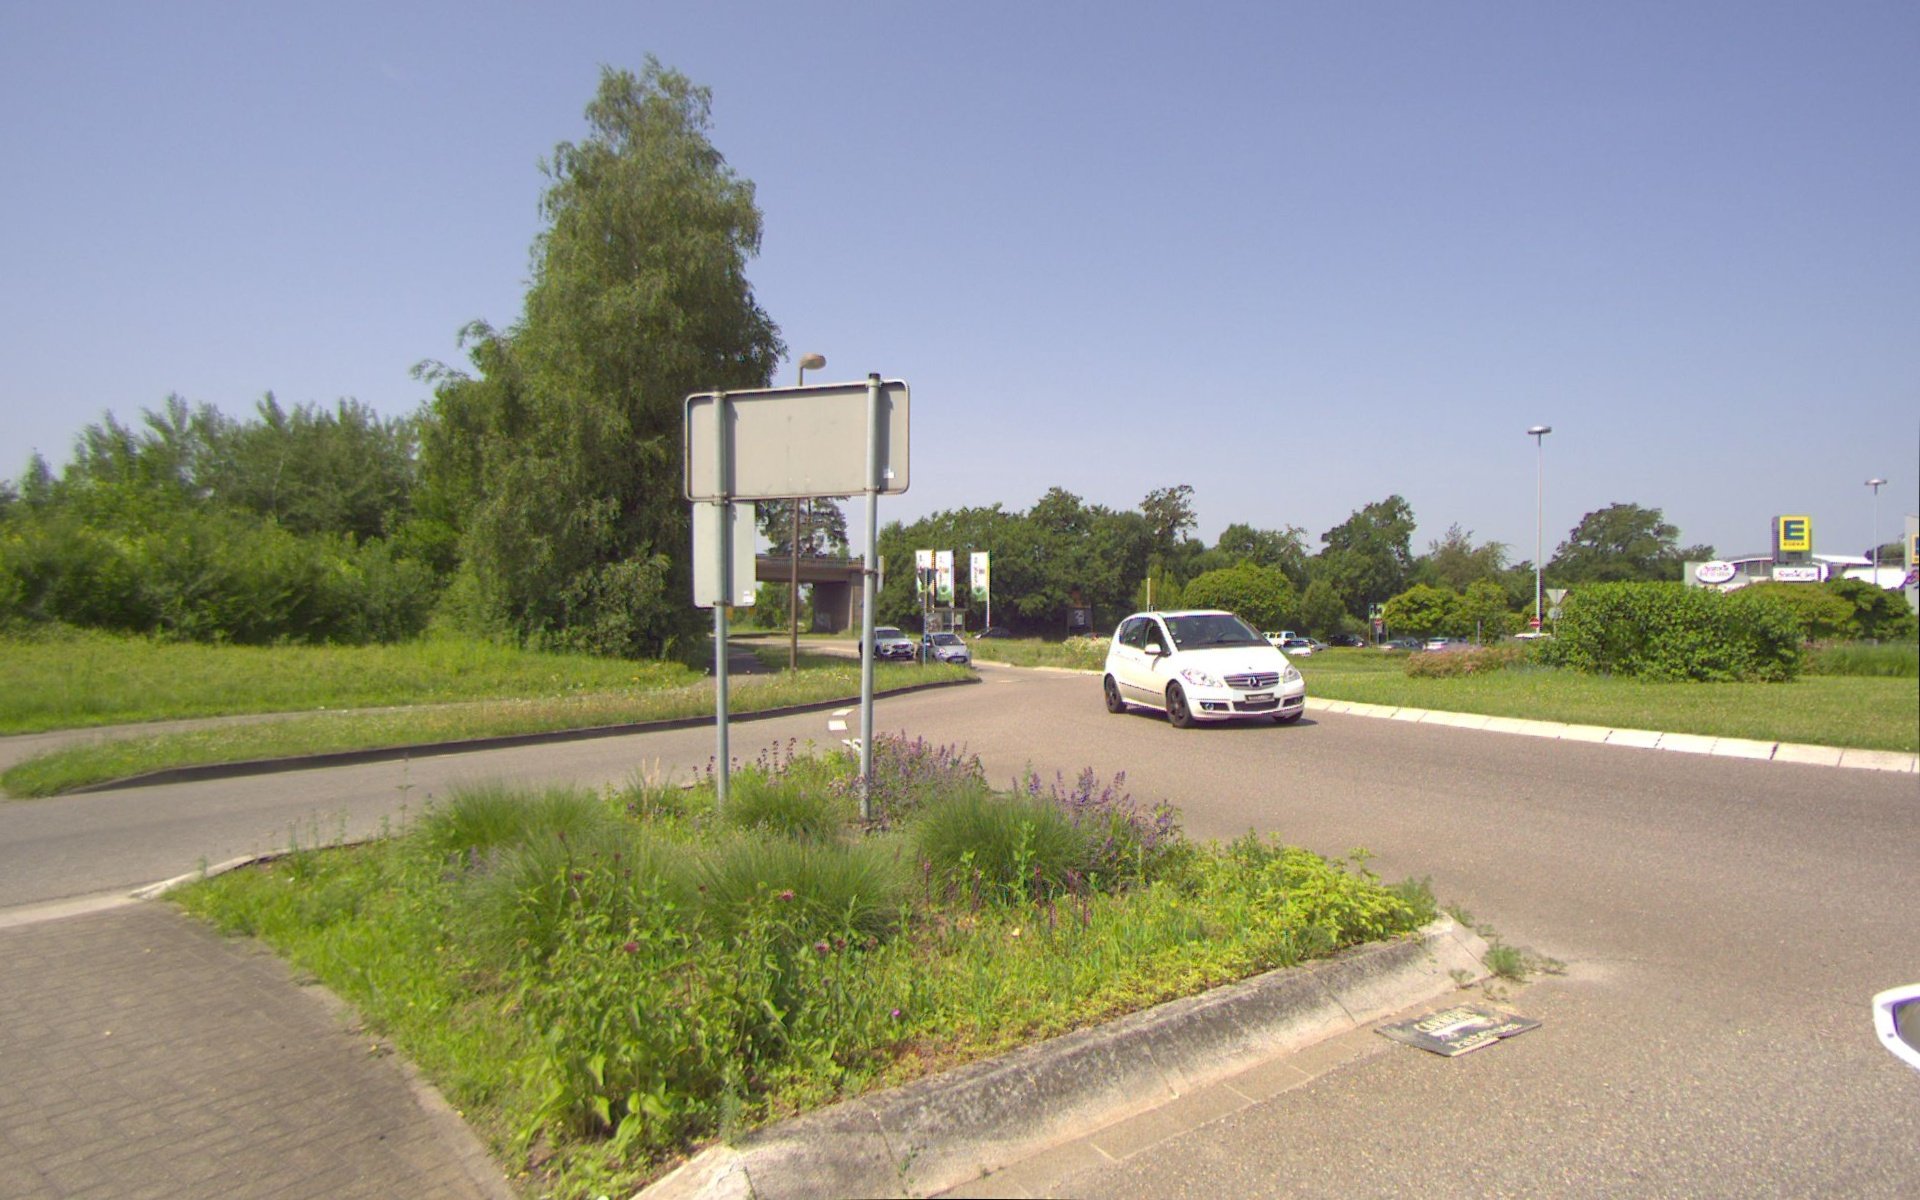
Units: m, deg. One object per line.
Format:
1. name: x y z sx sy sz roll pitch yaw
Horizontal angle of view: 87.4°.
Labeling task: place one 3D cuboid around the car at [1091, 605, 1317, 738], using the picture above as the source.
1. car: 3.385 0.911 14.729 1.755 1.625 3.885 0 0 -11

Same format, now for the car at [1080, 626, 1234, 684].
1. car: 5.780 1.600 29.550 4.149 1.550 1.750 0 -3 -21

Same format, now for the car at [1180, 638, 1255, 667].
1. car: 15.398 3.154 59.947 4.359 1.582 1.859 3 -1 -33

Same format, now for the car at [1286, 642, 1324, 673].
1. car: 19.372 3.188 56.560 1.553 1.517 4.568 2 -1 14

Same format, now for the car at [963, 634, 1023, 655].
1. car: 2.755 3.708 83.873 4.583 1.674 2.013 2 0 -30

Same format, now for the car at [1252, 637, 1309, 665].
1. car: 19.375 3.047 60.752 1.576 1.517 2.798 3 -1 -45

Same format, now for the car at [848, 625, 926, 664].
1. car: -3.800 2.236 51.368 2.169 1.674 5.086 2 0 -27

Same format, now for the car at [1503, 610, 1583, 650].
1. car: 31.723 1.624 54.683 3.943 2.040 1.684 3 0 -23

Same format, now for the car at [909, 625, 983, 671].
1. car: -0.643 1.999 42.646 2.094 1.637 4.184 0 1 -16
